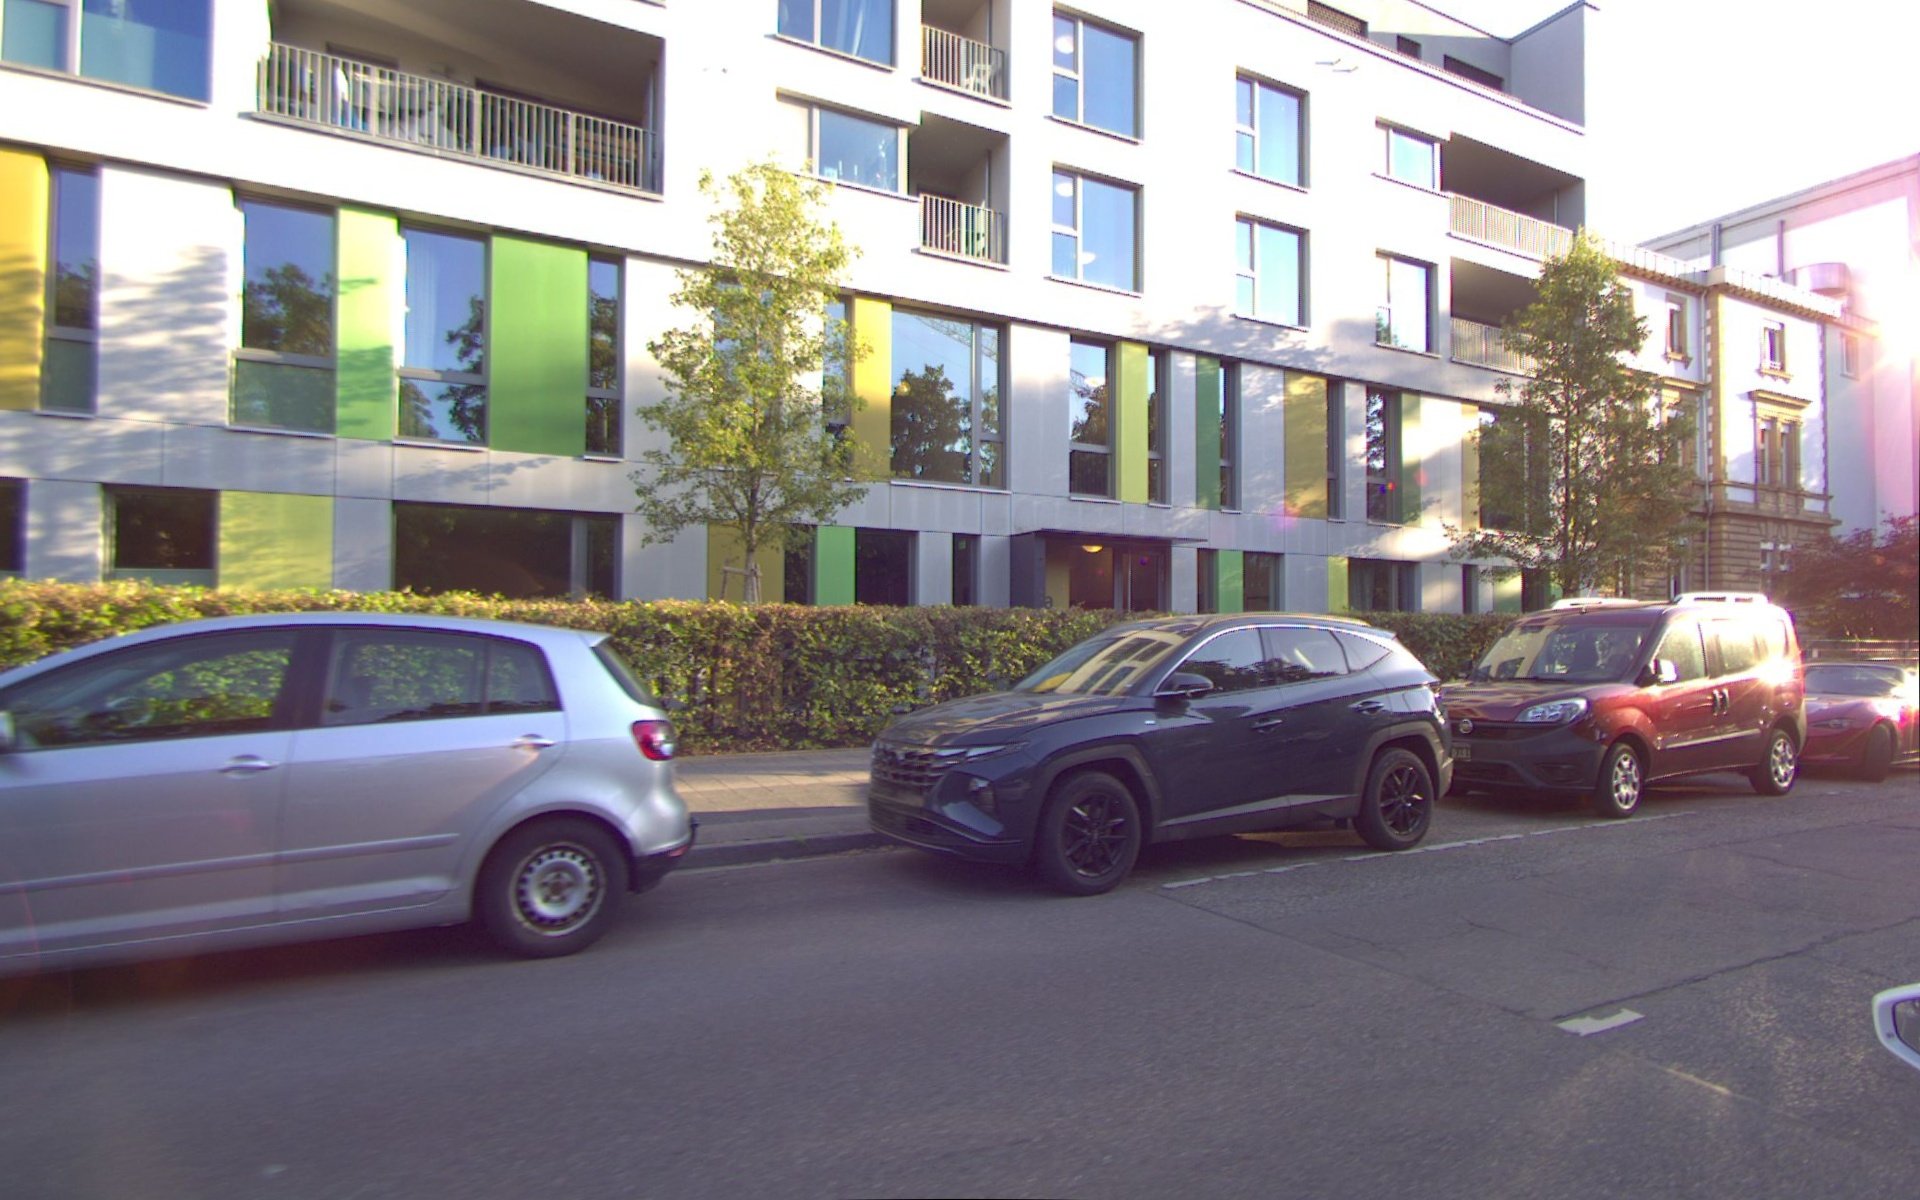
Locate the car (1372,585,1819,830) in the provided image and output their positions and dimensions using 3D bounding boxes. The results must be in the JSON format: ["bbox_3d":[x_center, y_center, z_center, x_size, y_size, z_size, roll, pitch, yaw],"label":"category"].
[{"bbox_3d":[6.161,0.912,9.676,4.186,1.914,1.800,1,-3,-29],"label":"car"}]

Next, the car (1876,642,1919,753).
[{"bbox_3d":[14.610,1.299,13.960,3.814,1.474,1.592,1,-3,-29],"label":"car"}]

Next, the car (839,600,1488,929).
[{"bbox_3d":[1.507,0.925,7.041,4.362,1.698,1.735,1,-3,-29],"label":"car"}]

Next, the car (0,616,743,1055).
[{"bbox_3d":[-3.248,0.885,4.674,4.066,1.554,1.734,1,-3,-30],"label":"car"}]

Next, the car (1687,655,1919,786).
[{"bbox_3d":[10.457,1.321,11.873,3.687,1.296,1.550,1,-3,-29],"label":"car"}]
